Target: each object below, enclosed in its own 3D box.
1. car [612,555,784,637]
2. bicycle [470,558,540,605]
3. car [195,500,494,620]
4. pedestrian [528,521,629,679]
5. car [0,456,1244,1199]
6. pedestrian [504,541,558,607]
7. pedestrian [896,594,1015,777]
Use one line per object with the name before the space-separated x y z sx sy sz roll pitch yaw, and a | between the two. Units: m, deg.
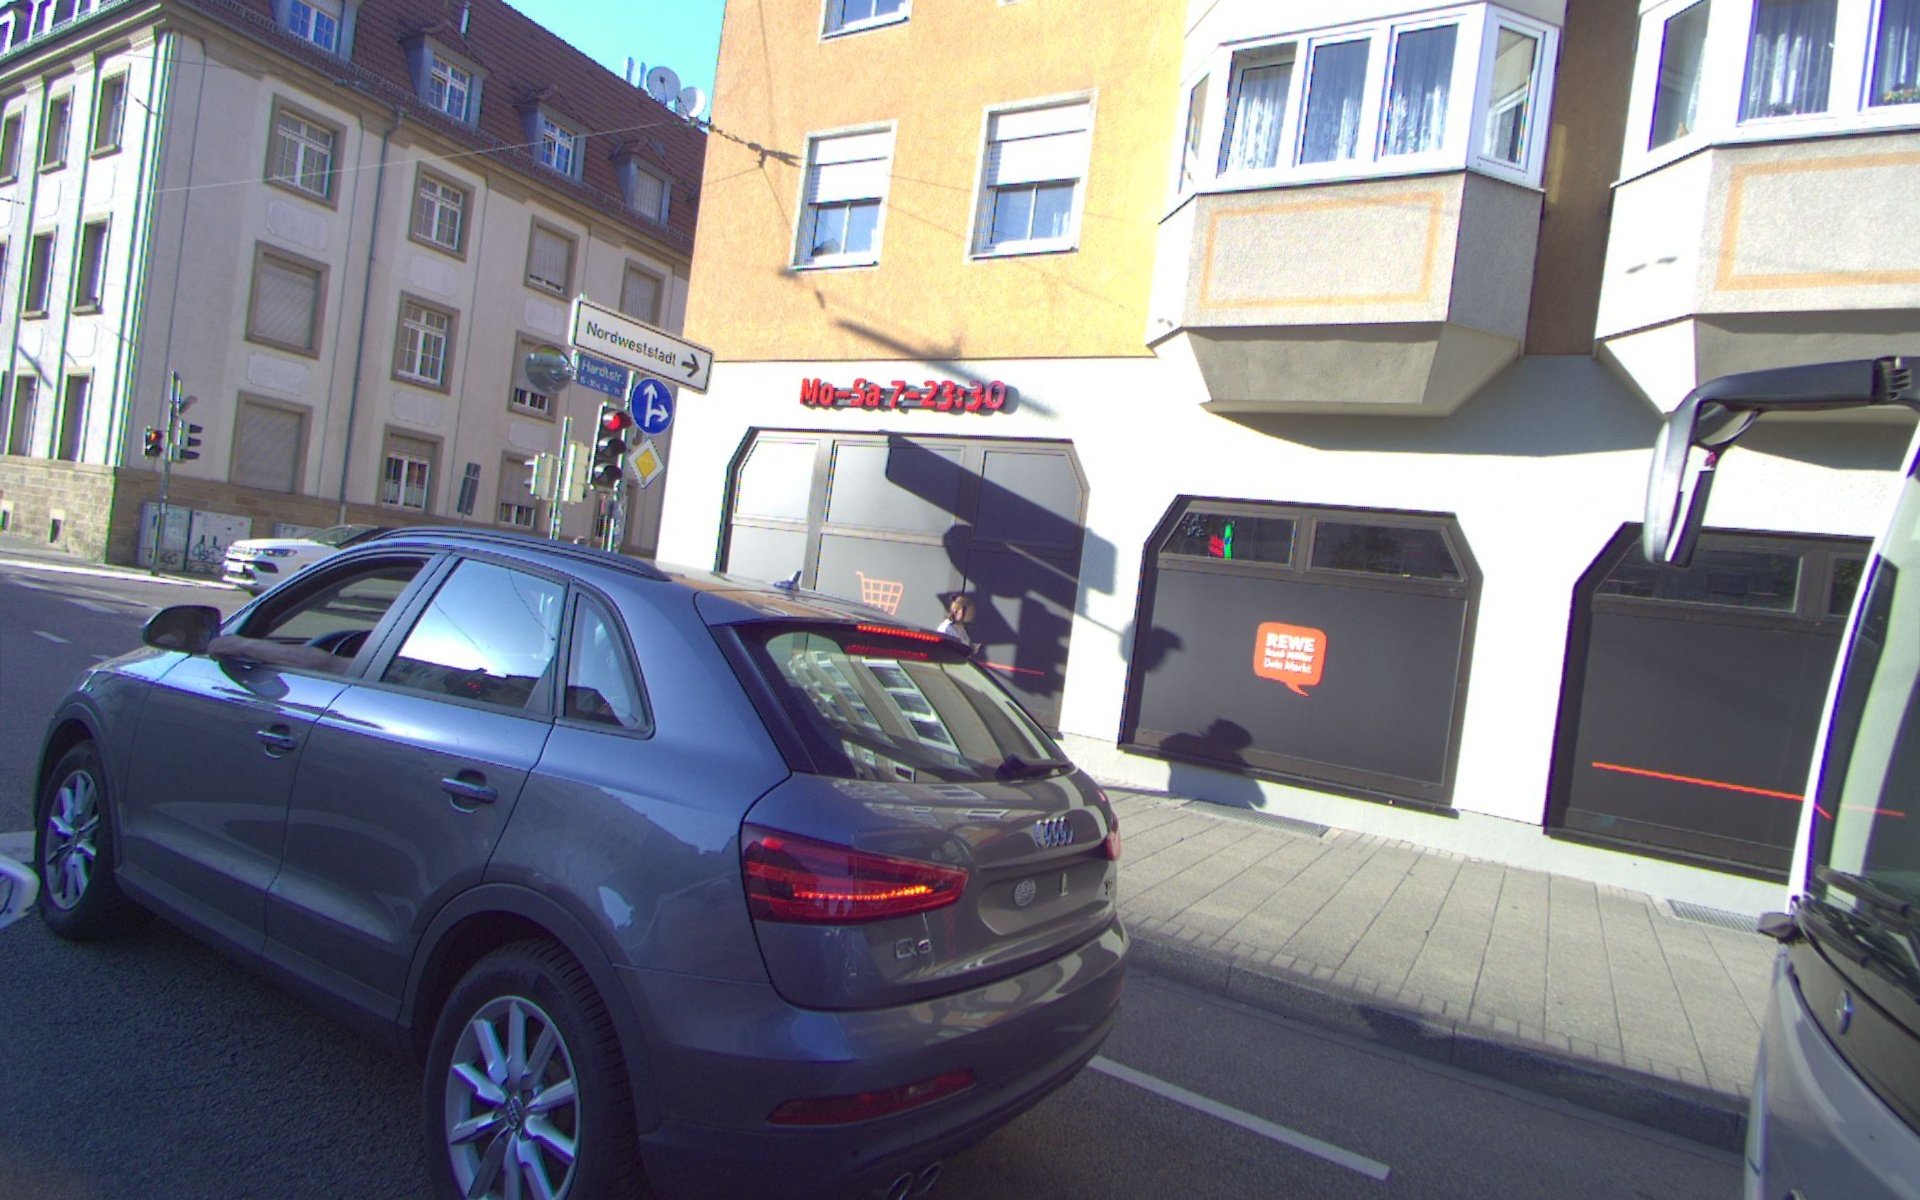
car | -7.051 -0.040 27.579 1.965 1.749 4.470 6 -1 28
bicycle | -12.696 -0.504 28.108 0.657 1.131 1.564 7 0 32
car | -11.694 -0.683 19.461 1.966 1.660 4.428 7 -1 29
pedestrian | -4.880 0.004 12.870 0.706 1.896 0.694 7 -2 32
car | -1.374 0.544 3.394 4.018 1.595 1.772 7 0 32
pedestrian | -11.922 -0.709 27.970 0.657 1.703 1.038 7 1 31
pedestrian | -0.046 0.775 9.286 0.817 1.544 0.440 7 1 32
